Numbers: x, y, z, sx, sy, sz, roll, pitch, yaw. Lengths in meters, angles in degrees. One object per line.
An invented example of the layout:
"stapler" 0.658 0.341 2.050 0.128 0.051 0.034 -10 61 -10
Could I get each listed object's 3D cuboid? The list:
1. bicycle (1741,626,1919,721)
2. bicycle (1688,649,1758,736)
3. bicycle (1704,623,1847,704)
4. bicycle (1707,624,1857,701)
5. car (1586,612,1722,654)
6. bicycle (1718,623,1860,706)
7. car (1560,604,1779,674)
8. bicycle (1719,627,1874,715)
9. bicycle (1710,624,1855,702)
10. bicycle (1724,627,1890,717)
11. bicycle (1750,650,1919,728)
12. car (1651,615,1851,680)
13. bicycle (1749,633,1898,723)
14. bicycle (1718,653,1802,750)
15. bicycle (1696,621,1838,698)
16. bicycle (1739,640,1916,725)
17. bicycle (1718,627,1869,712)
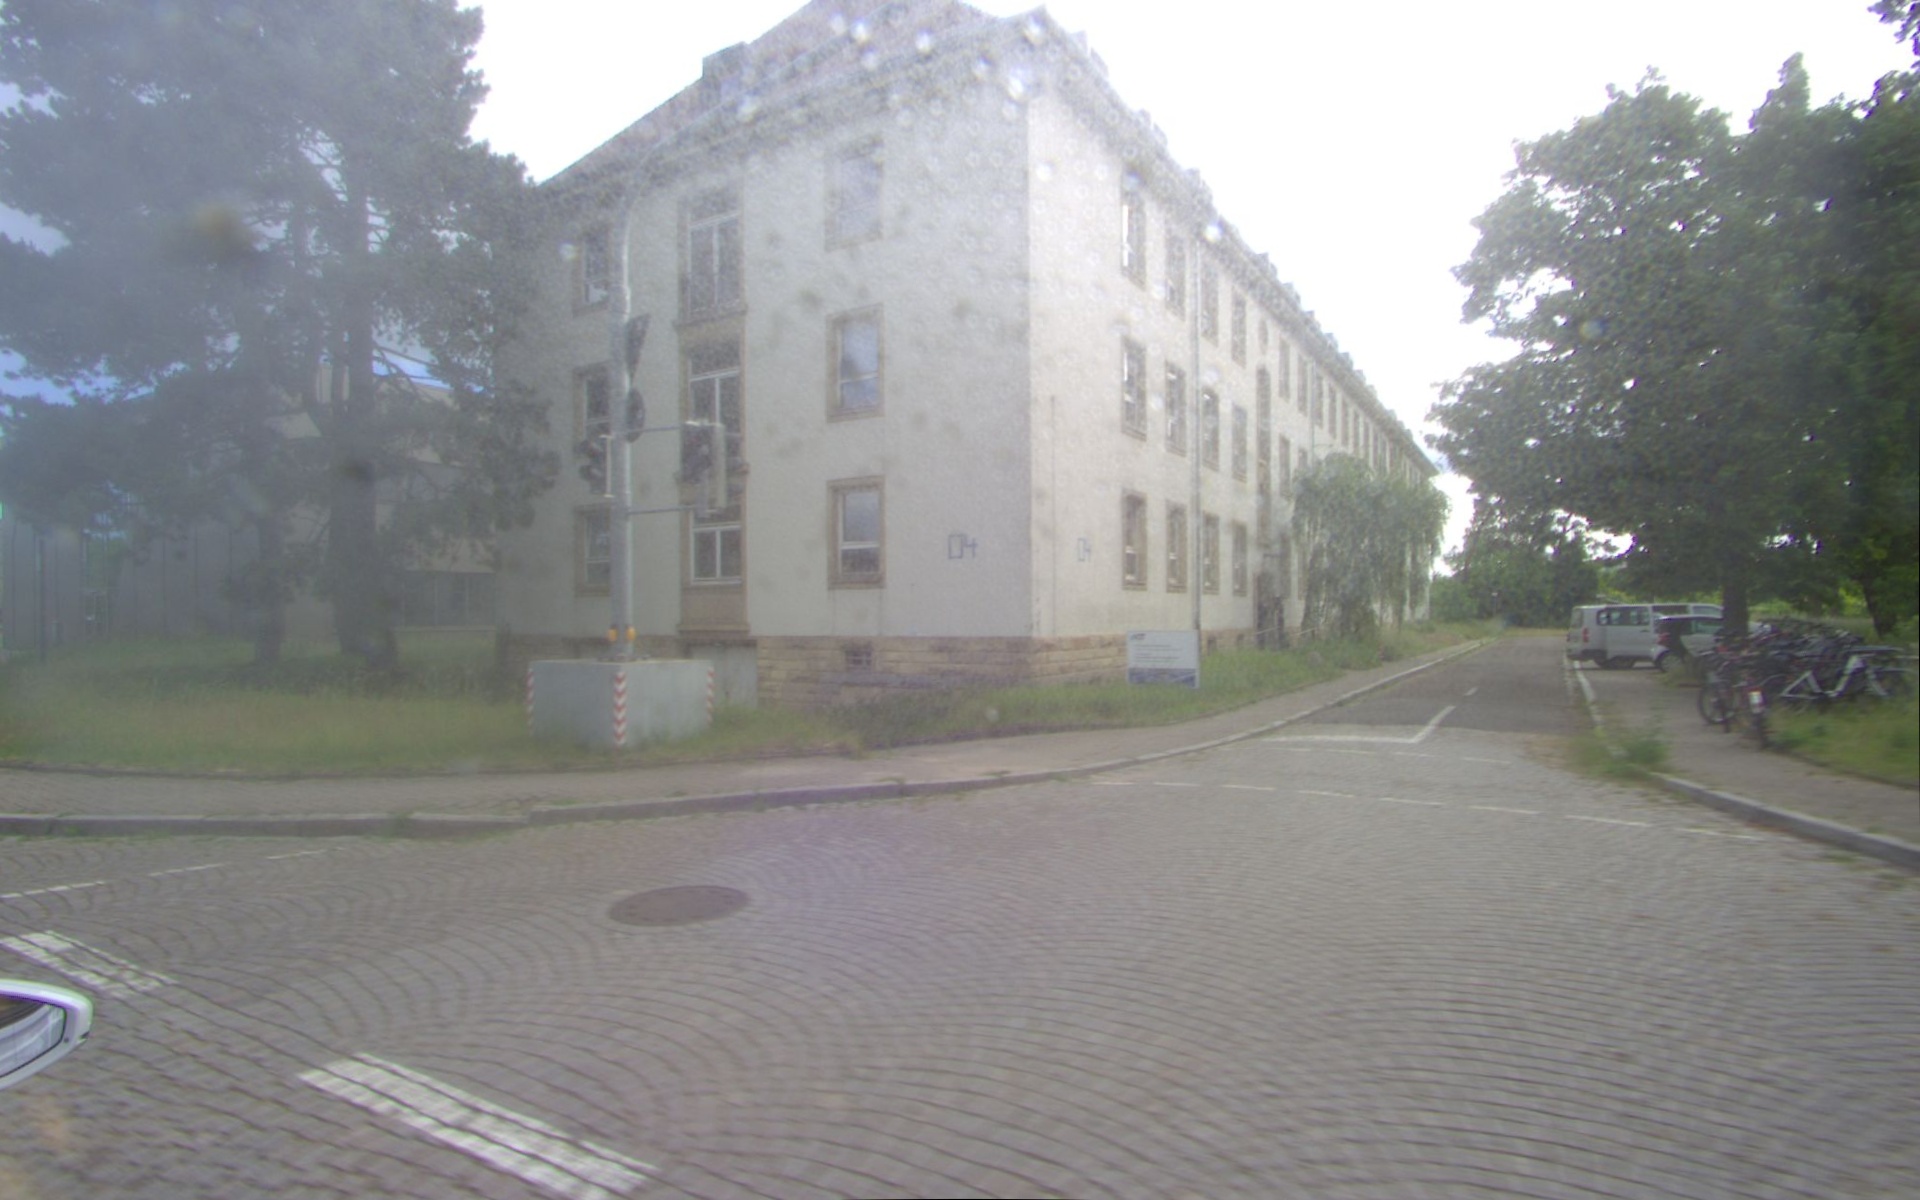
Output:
"bicycle" 13.084 1.072 15.122 2.021 1.337 0.436 -1 0 37
"bicycle" 10.007 1.187 13.169 0.535 1.027 1.534 0 -1 30
"bicycle" 14.282 1.084 17.608 1.913 1.337 0.551 0 -1 37
"bicycle" 15.073 1.121 18.449 2.104 1.337 0.553 -1 -1 37
"car" 28.352 1.313 41.099 4.452 1.639 1.990 -1 -1 32
"bicycle" 14.054 1.066 17.034 1.828 1.337 0.553 0 -1 37
"car" 20.697 1.120 29.478 4.774 1.935 2.237 0 -1 16
"bicycle" 13.500 1.114 16.225 1.895 1.337 0.504 0 0 37
"bicycle" 14.724 1.103 17.998 1.989 1.337 0.538 -1 -1 37
"bicycle" 13.214 1.093 15.709 1.950 1.337 0.574 0 -1 37
"bicycle" 12.038 1.194 13.728 1.877 0.961 0.539 -1 -1 37
"car" 20.248 1.170 25.871 3.876 1.550 1.852 -1 -1 33
"bicycle" 12.690 1.119 14.772 1.617 1.231 0.539 0 -1 37
"bicycle" 9.230 1.135 11.593 0.522 0.993 1.618 0 -1 30
"bicycle" 15.338 1.100 19.119 2.075 1.385 0.755 0 0 37
"bicycle" 12.331 1.145 14.314 1.877 1.116 0.539 -1 -1 37
"bicycle" 13.755 1.127 16.595 1.893 1.337 0.390 0 0 37
